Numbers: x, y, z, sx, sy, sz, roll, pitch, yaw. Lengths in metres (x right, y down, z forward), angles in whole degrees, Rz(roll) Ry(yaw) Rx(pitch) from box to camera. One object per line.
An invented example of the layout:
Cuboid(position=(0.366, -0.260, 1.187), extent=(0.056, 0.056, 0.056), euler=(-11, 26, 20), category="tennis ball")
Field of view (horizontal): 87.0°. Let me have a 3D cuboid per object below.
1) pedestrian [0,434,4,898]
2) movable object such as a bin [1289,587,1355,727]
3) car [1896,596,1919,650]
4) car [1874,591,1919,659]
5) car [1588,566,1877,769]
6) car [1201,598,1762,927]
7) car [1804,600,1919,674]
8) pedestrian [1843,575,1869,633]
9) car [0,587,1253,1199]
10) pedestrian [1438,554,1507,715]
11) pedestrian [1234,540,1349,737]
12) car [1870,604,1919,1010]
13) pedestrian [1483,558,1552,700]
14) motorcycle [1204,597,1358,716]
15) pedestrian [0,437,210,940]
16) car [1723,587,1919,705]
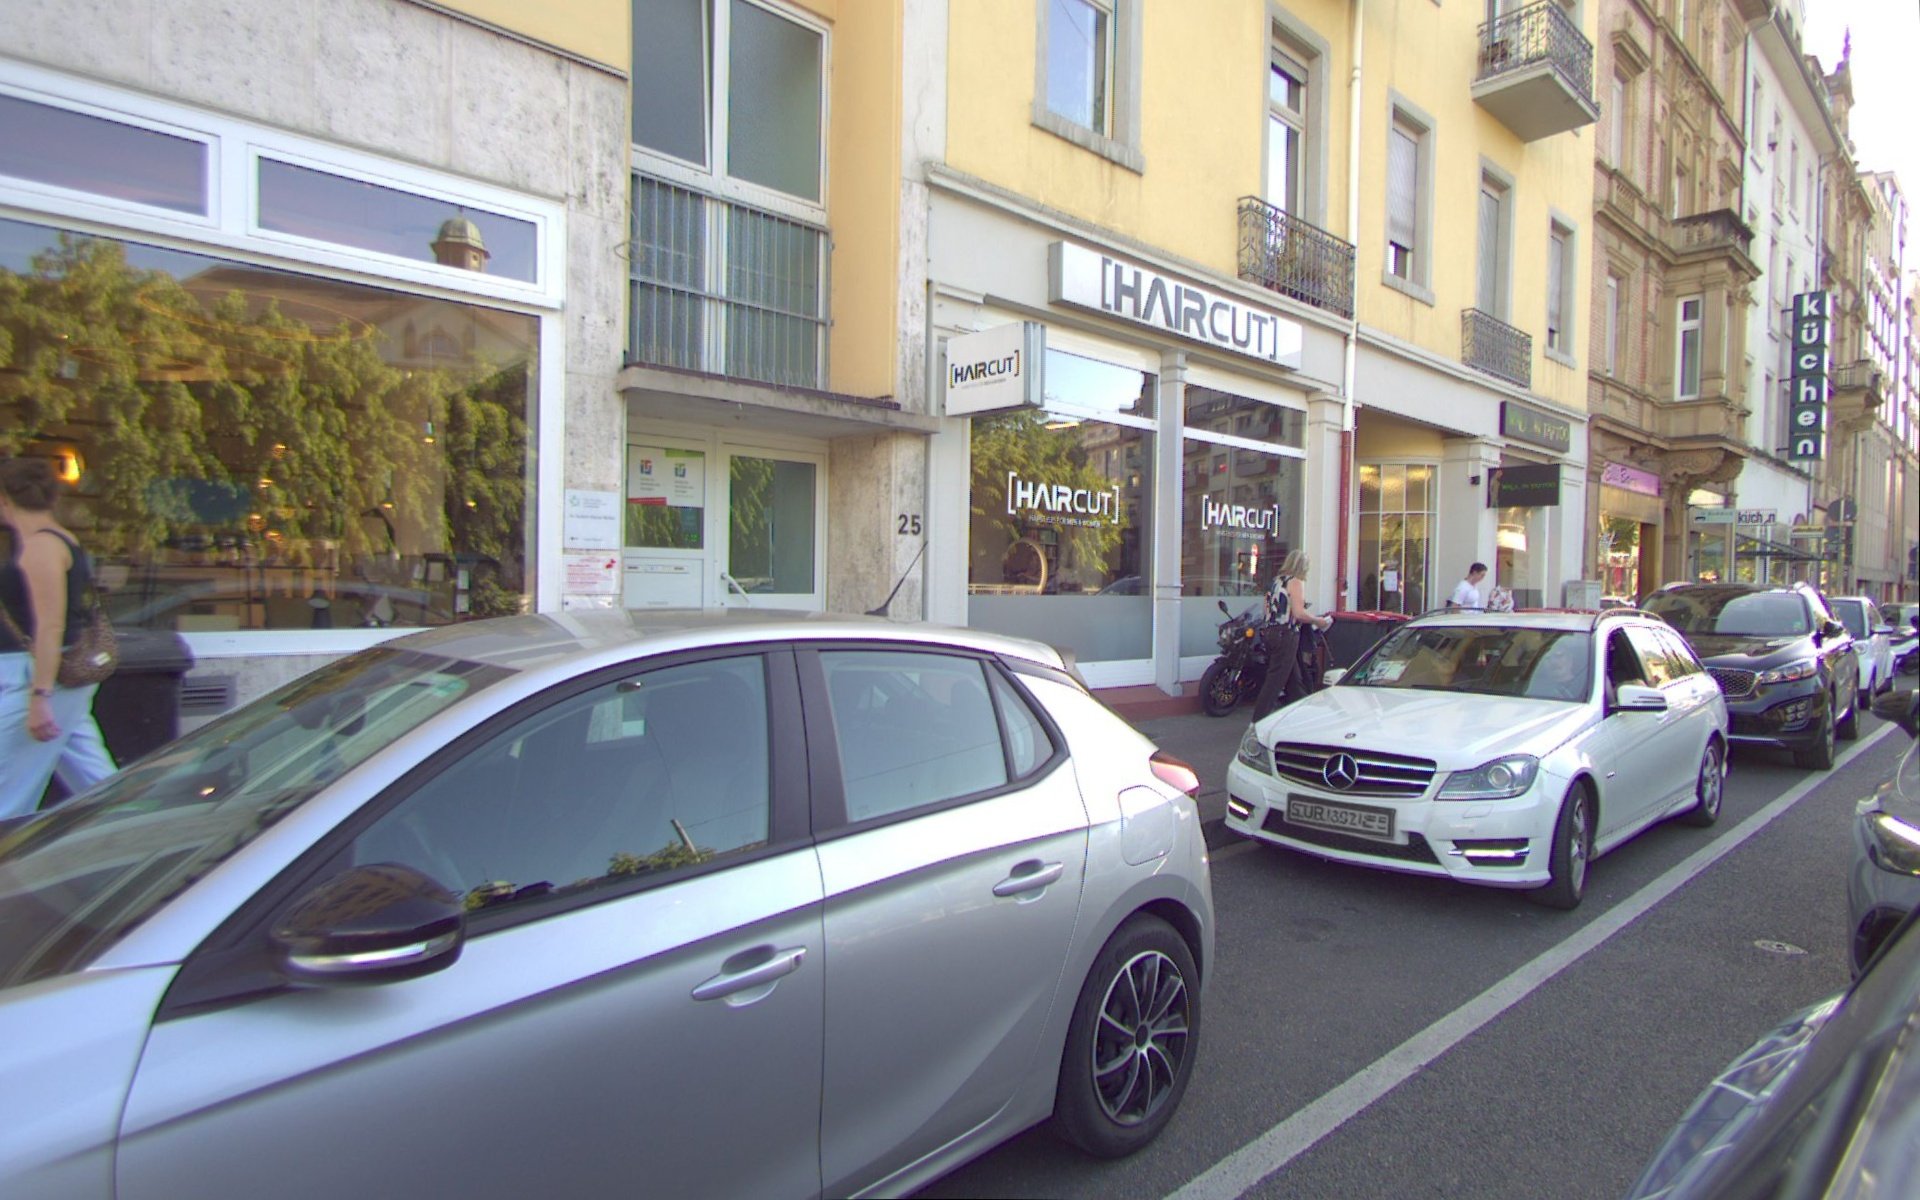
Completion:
Cuboid(position=(-4.167, 0.256, 3.811), extent=(0.564, 1.806, 0.734), euler=(1, 0, 35), category="pedestrian")
Cuboid(position=(3.366, 0.516, 9.421), extent=(0.387, 1.253, 0.391), euler=(0, 3, -41), category="movable object such as a bin")
Cuboid(position=(26.505, 0.593, 27.093), extent=(3.773, 1.357, 1.800), euler=(-1, 1, -42), category="car")
Cuboid(position=(22.207, 0.534, 23.078), extent=(4.016, 1.450, 1.657), euler=(-1, 0, -42), category="car")
Cuboid(position=(8.029, 0.525, 10.365), extent=(4.176, 1.659, 1.799), euler=(-1, 1, -45), category="car")
Cuboid(position=(3.527, 0.698, 6.430), extent=(4.302, 1.376, 1.703), euler=(-1, 1, -41), category="car")
Cuboid(position=(18.094, 0.659, 19.884), extent=(4.016, 1.282, 1.800), euler=(-1, 1, -42), category="car")
Cuboid(position=(29.538, 0.131, 33.362), extent=(0.653, 1.874, 0.574), euler=(0, 0, -40), category="pedestrian")
Cuboid(position=(-0.996, 0.698, 2.292), extent=(3.597, 1.445, 1.549), euler=(-1, 1, -42), category="car")
Cuboid(position=(6.520, 0.427, 12.874), extent=(0.679, 2.008, 0.375), euler=(1, 1, -18), category="pedestrian")
Cuboid(position=(2.975, 0.310, 9.095), extent=(0.595, 1.674, 0.719), euler=(0, 3, -40), category="pedestrian")
Cuboid(position=(5.268, 0.706, 4.221), extent=(3.932, 1.376, 1.800), euler=(-1, 1, -42), category="car")
Cuboid(position=(7.557, 0.375, 13.729), extent=(0.565, 1.874, 0.664), euler=(0, 0, -42), category="pedestrian")
Cuboid(position=(3.373, 0.545, 10.551), extent=(1.920, 1.091, 0.567), euler=(-1, 4, -41), category="motorcycle")
Cuboid(position=(-3.288, 0.293, 3.712), extent=(0.634, 1.686, 0.660), euler=(0, 0, -11), category="pedestrian")
Cuboid(position=(13.107, 0.580, 15.304), extent=(4.016, 1.546, 1.800), euler=(-1, 0, -42), category="car")
